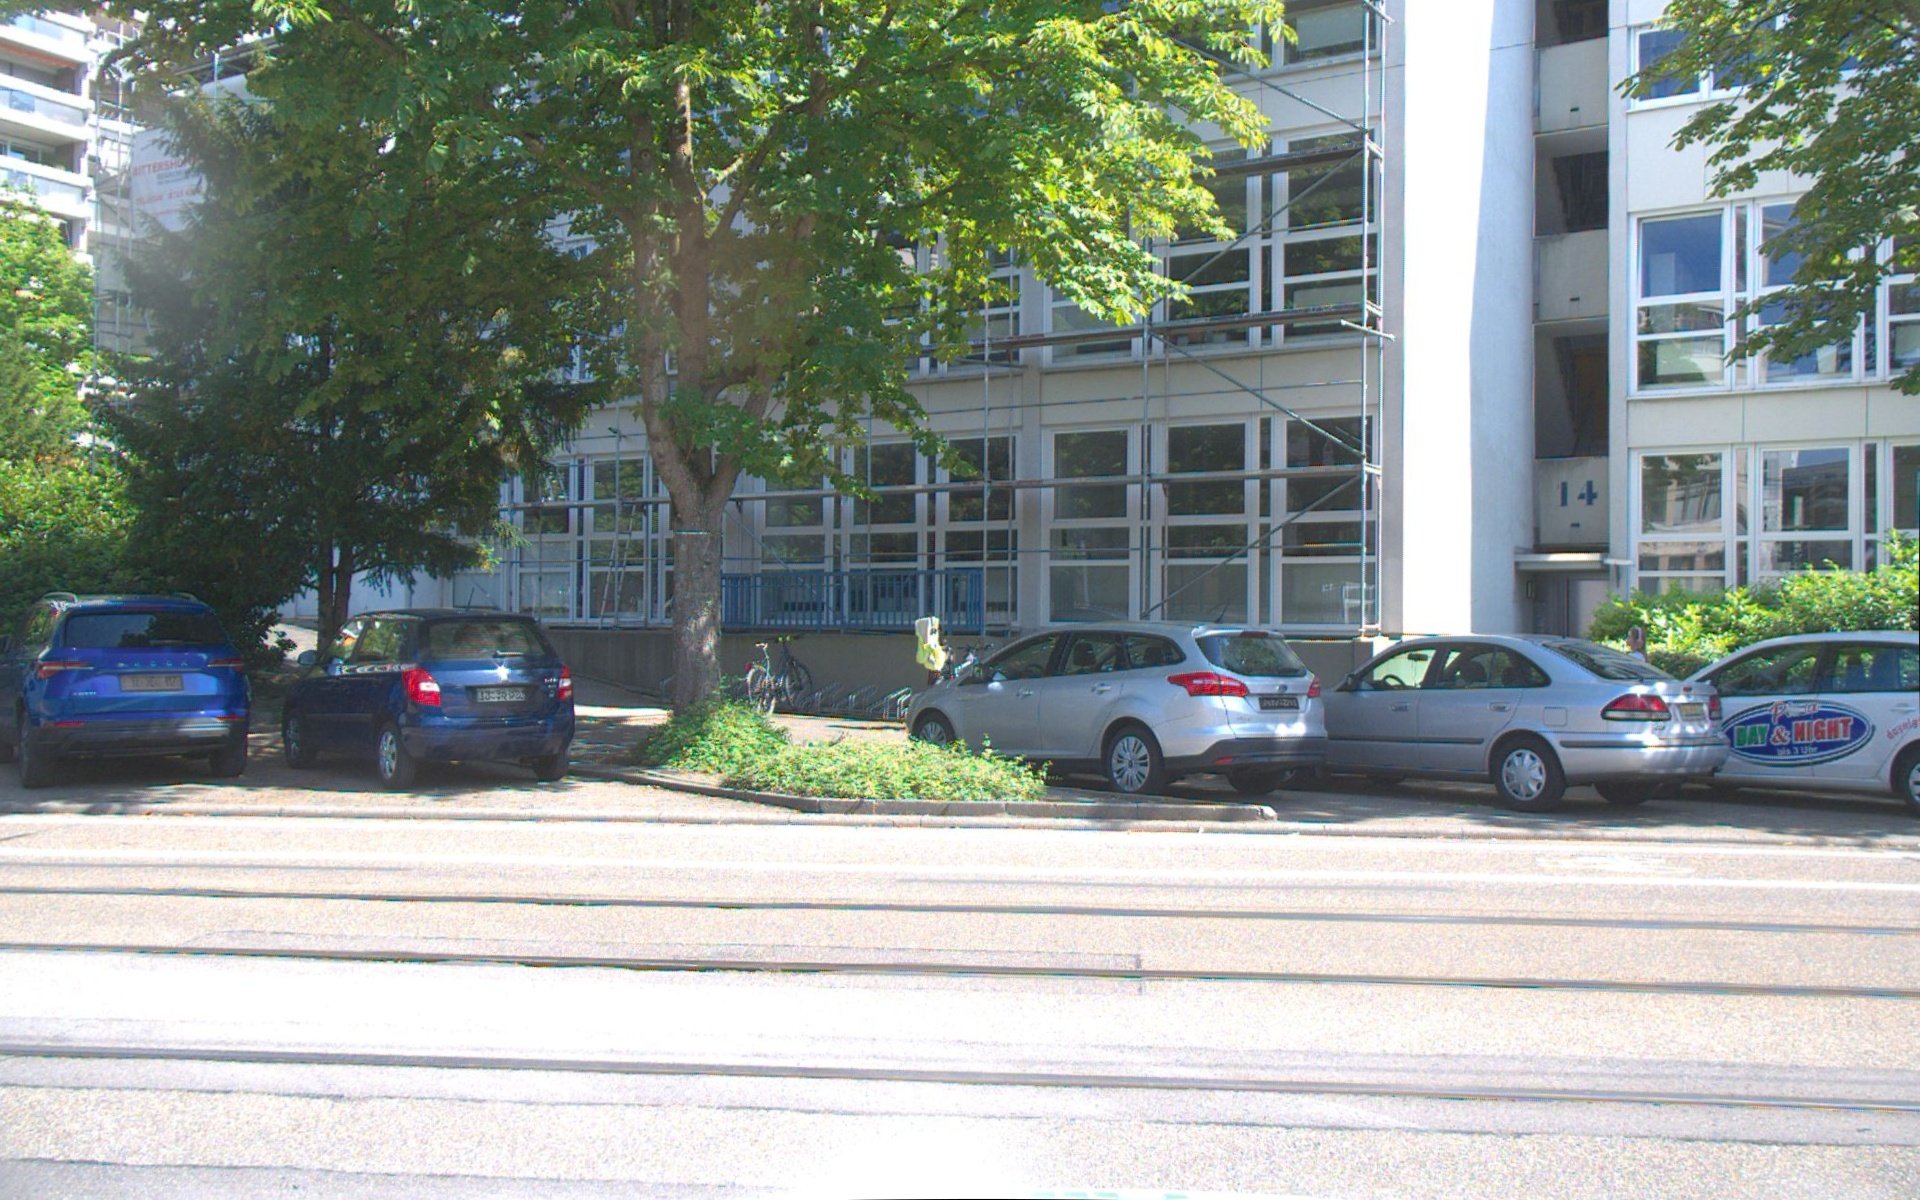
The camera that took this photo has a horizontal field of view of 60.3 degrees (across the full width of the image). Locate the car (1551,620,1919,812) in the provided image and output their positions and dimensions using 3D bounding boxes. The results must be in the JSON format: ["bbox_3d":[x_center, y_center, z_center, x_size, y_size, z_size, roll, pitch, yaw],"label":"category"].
[{"bbox_3d":[7.391,0.965,14.524,1.597,1.512,3.888,2,-3,-39],"label":"car"}]

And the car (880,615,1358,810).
[{"bbox_3d":[1.295,0.916,15.074,1.768,1.512,4.370,2,-2,-40],"label":"car"}]

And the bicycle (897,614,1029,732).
[{"bbox_3d":[0.064,0.938,21.722,0.650,1.479,2.083,-1,-2,35],"label":"bicycle"}]

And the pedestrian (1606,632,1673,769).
[{"bbox_3d":[7.456,1.093,18.163,0.607,1.486,0.424,0,-2,11],"label":"pedestrian"}]

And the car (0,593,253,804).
[{"bbox_3d":[-7.941,0.779,15.305,1.761,1.651,3.895,0,0,-36],"label":"car"}]

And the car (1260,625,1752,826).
[{"bbox_3d":[4.630,0.983,14.497,1.597,1.512,3.890,2,-2,-38],"label":"car"}]

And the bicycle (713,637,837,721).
[{"bbox_3d":[-2.527,1.063,22.847,0.726,1.105,2.202,0,-1,23],"label":"bicycle"}]

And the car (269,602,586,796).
[{"bbox_3d":[-4.929,0.828,15.087,1.562,1.558,3.407,2,-2,-40],"label":"car"}]
